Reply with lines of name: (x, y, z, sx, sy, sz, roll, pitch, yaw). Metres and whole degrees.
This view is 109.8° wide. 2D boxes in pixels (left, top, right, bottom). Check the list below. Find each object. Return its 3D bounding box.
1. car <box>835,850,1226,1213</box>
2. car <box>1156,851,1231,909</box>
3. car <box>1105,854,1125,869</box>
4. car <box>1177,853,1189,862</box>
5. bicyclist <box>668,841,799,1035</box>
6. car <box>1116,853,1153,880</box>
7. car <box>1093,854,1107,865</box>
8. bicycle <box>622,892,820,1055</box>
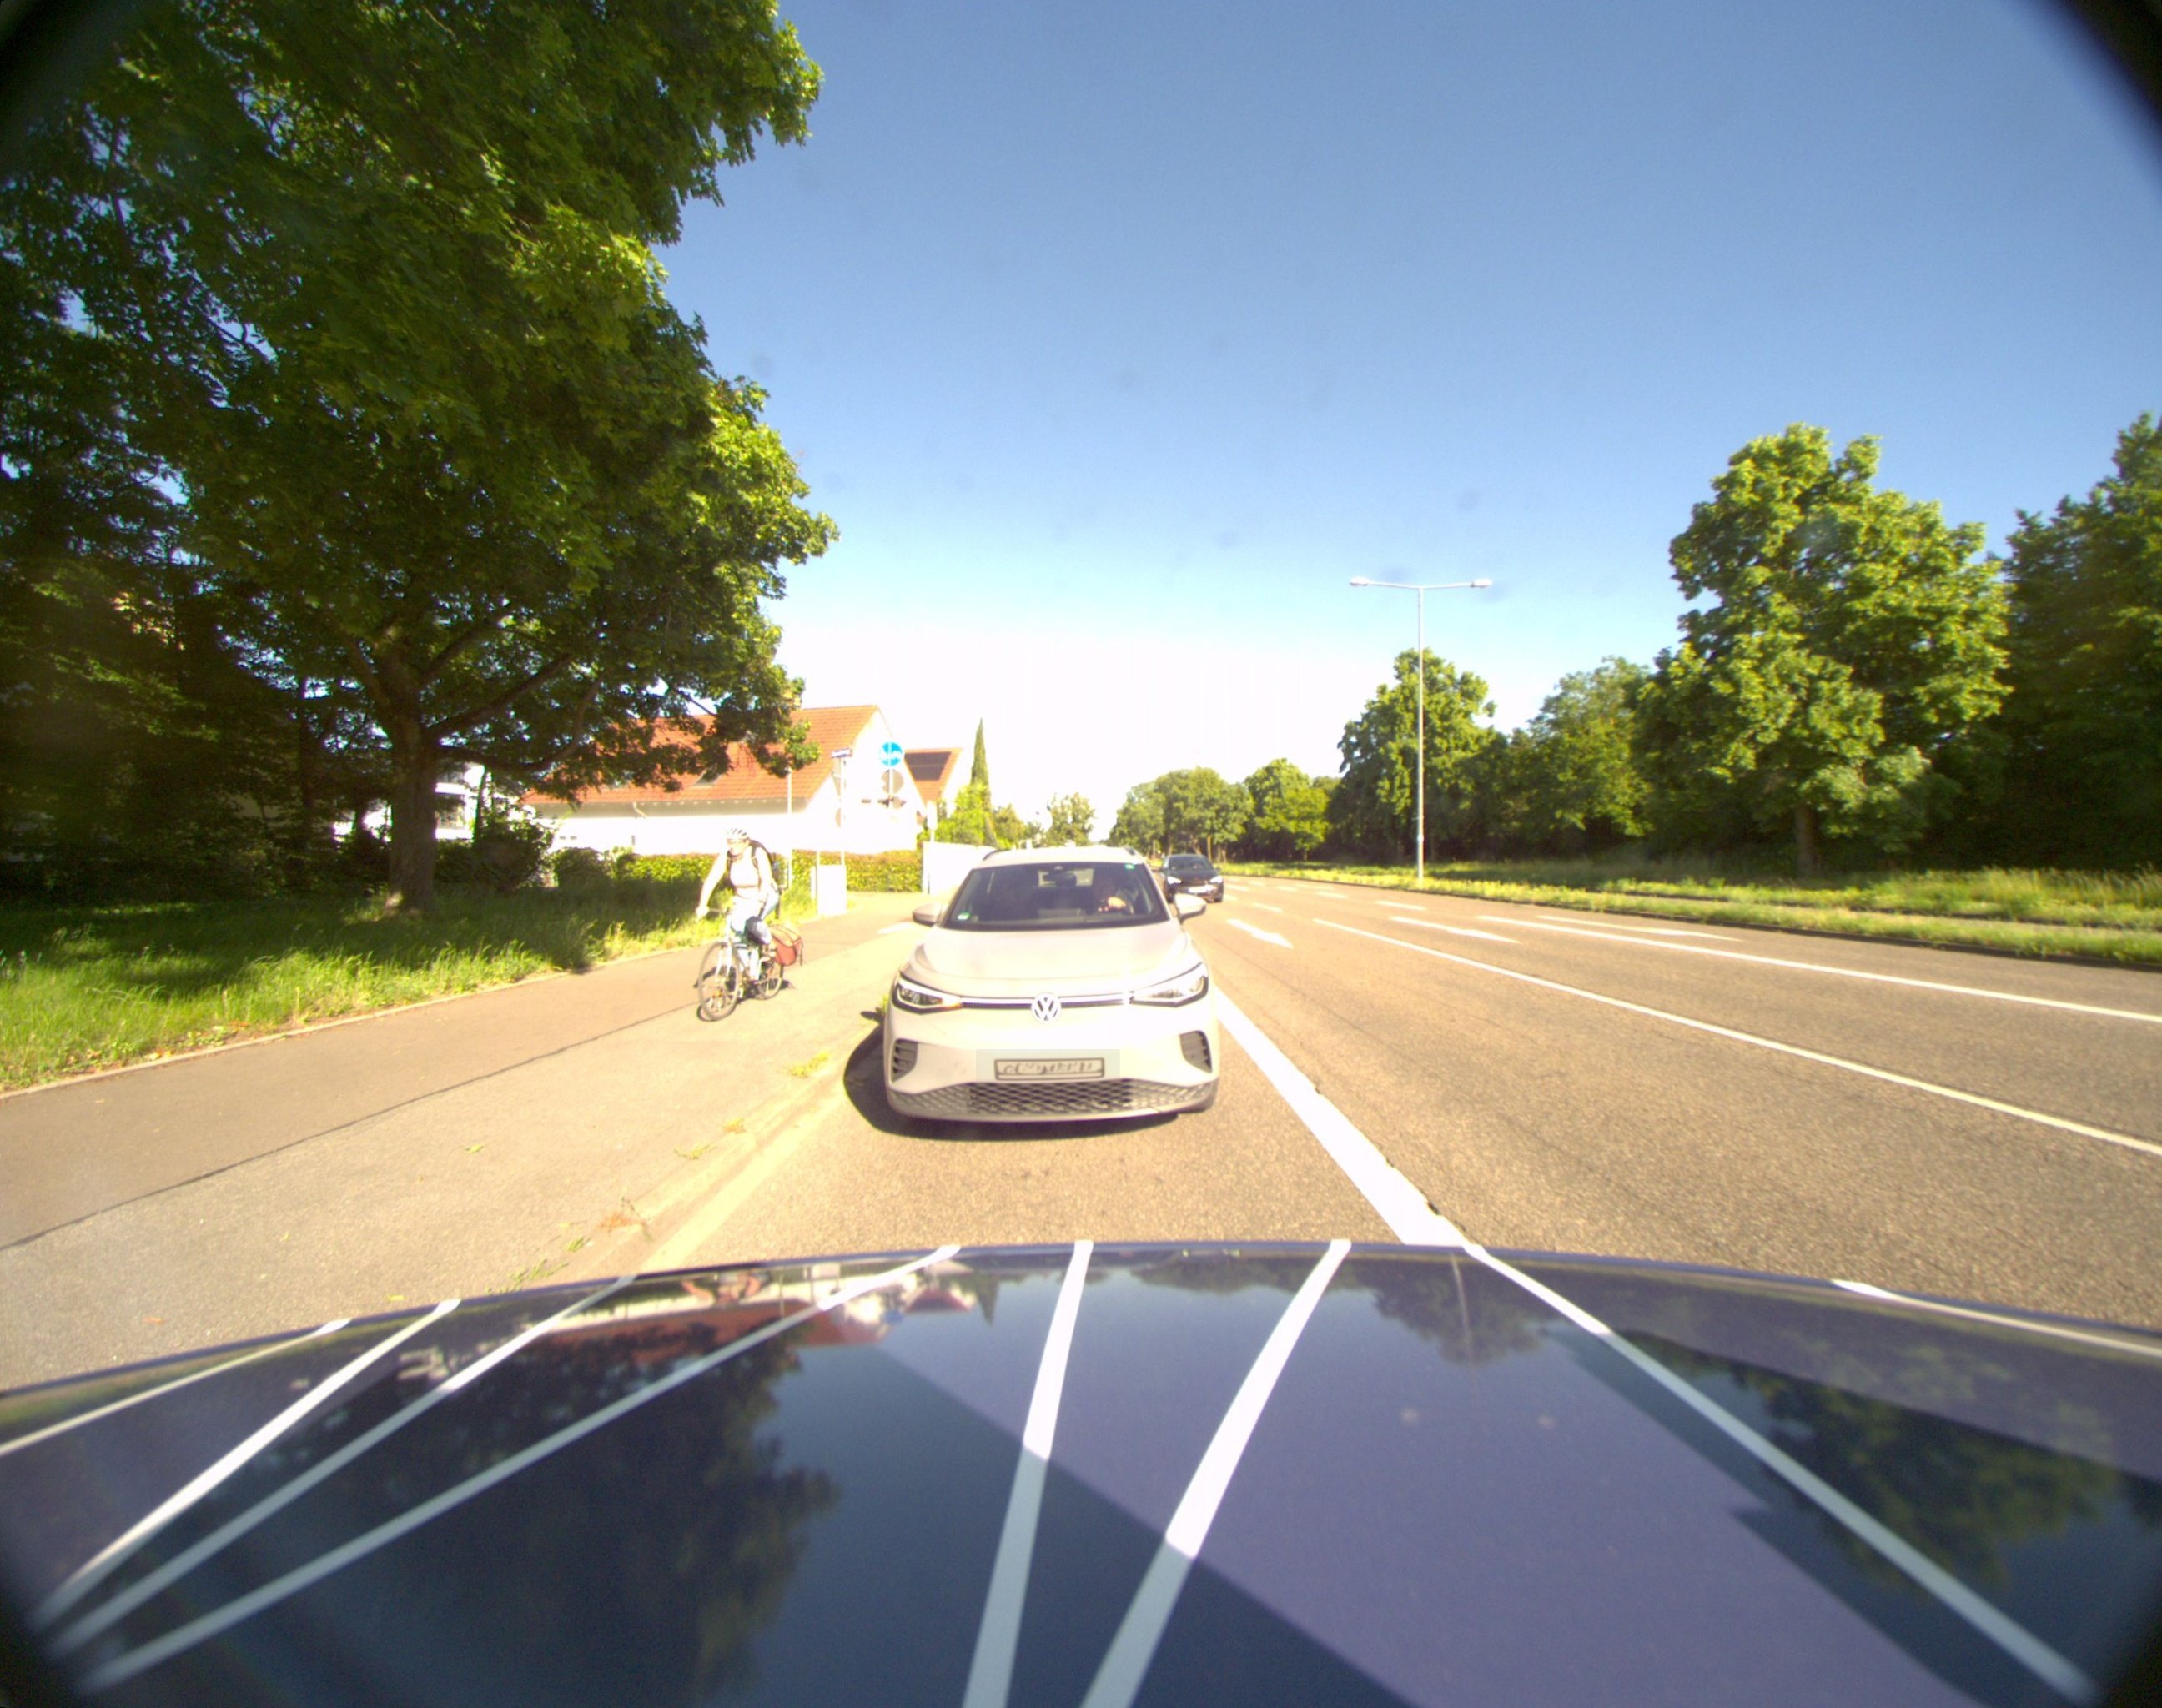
car: (-0.210, 0.829, 5.709, 1.766, 1.606, 4.297, -3, 1, 1)
car: (3.487, 0.759, 24.290, 1.766, 1.606, 4.297, -2, 1, 1)
car: (3.867, 0.830, 86.468, 1.856, 1.576, 3.998, -2, 1, -3)
car: (20.986, 0.734, 156.709, 1.917, 1.693, 4.407, -2, 1, 1)
bicyclist: (-3.159, 0.721, 6.994, 0.631, 1.623, 0.982, 3, 0, 5)
car: (3.334, 0.740, 48.052, 1.856, 1.576, 3.998, -2, 1, -3)
car: (2.966, 0.818, 118.886, 1.856, 1.576, 3.998, -2, 1, -3)
bicycle: (-3.157, 0.976, 6.949, 0.575, 1.148, 2.142, 3, 0, 5)
